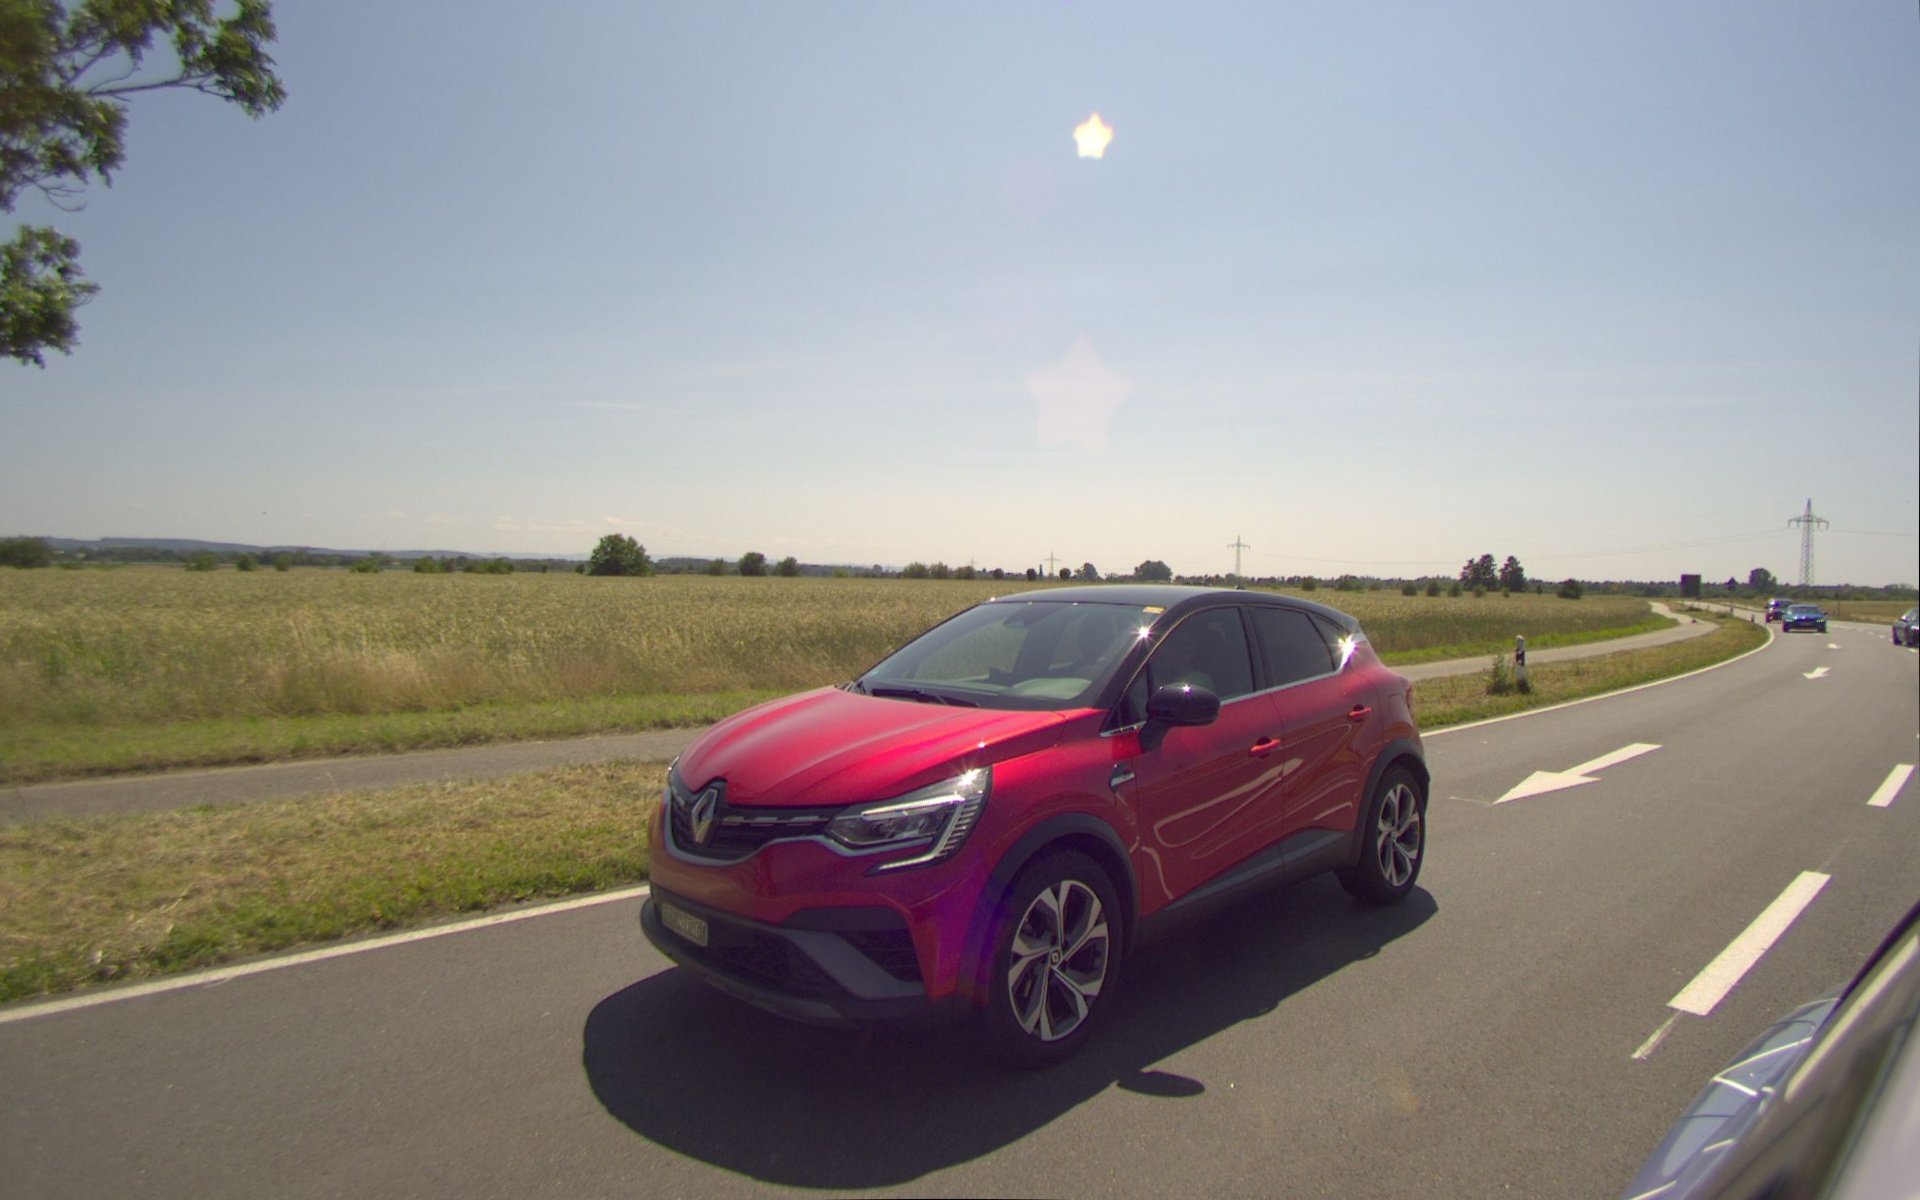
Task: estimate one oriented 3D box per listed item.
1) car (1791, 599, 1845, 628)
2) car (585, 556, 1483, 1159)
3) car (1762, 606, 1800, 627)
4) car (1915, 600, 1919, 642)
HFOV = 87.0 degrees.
[{"bbox_3d":[46.764,0.691,55.161,2.181,1.485,4.940,0,0,41],"label":"car"},{"bbox_3d":[0.725,0.659,4.825,4.375,1.572,1.824,0,0,-44],"label":"car"},{"bbox_3d":[63.052,1.235,77.714,2.181,1.485,4.940,0,0,40],"label":"car"},{"bbox_3d":[36.480,0.738,37.056,2.184,1.485,4.934,0,0,44],"label":"car"}]
